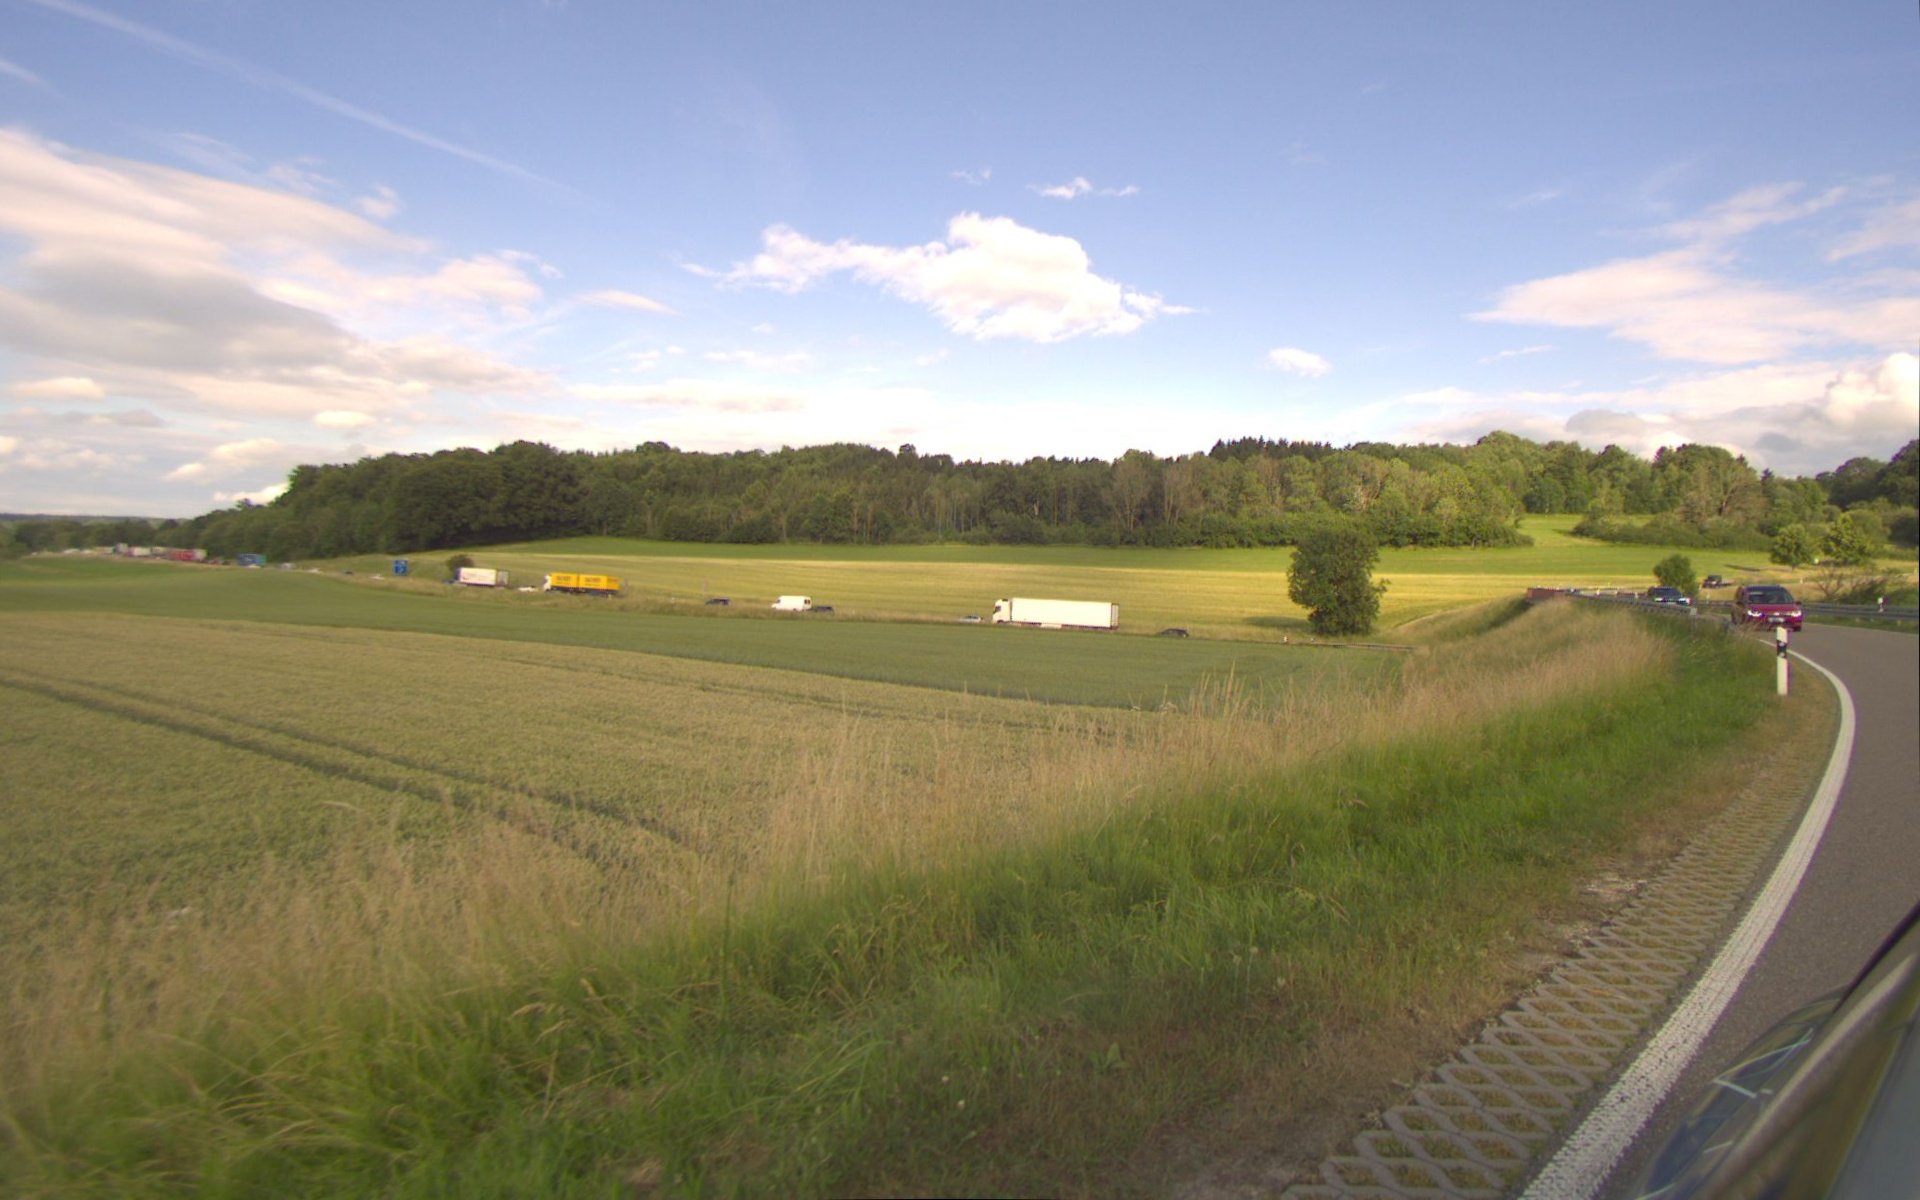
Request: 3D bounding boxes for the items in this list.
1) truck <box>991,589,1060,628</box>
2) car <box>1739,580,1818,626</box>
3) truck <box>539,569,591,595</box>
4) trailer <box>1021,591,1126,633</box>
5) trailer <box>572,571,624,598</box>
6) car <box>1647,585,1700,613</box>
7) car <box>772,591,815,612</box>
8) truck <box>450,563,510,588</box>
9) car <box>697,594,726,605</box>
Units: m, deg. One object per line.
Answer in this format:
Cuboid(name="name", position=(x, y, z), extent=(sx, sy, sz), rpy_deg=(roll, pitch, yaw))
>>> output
Cuboid(name="truck", position=(8.294, 1.087, 128.475), extent=(7.985, 4.525, 2.998), rpy_deg=(3, 0, 29))
Cuboid(name="car", position=(32.289, 0.111, 40.039), extent=(1.807, 1.676, 3.956), rpy_deg=(-2, -1, 31))
Cuboid(name="truck", position=(-69.998, -3.198, 179.127), extent=(9.737, 4.108, 3.792), rpy_deg=(3, 5, 34))
Cuboid(name="trailer", position=(14.003, 1.420, 125.249), extent=(12.616, 4.524, 3.001), rpy_deg=(3, 0, 29))
Cuboid(name="trailer", position=(-62.268, -2.772, 173.885), extent=(9.066, 4.108, 3.794), rpy_deg=(3, 4, 34))
Cuboid(name="car", position=(45.432, -0.103, 64.498), extent=(1.801, 1.631, 3.971), rpy_deg=(3, 2, 22))
Cuboid(name="car", position=(-24.382, 0.212, 148.141), extent=(6.072, 2.618, 2.348), rpy_deg=(4, -2, 30))
Cuboid(name="truck", position=(-93.234, -4.876, 196.497), extent=(14.338, 4.042, 4.031), rpy_deg=(4, 7, 36))
Cuboid(name="car", position=(-36.398, -0.053, 148.166), extent=(3.965, 1.538, 1.666), rpy_deg=(2, 2, 29))
